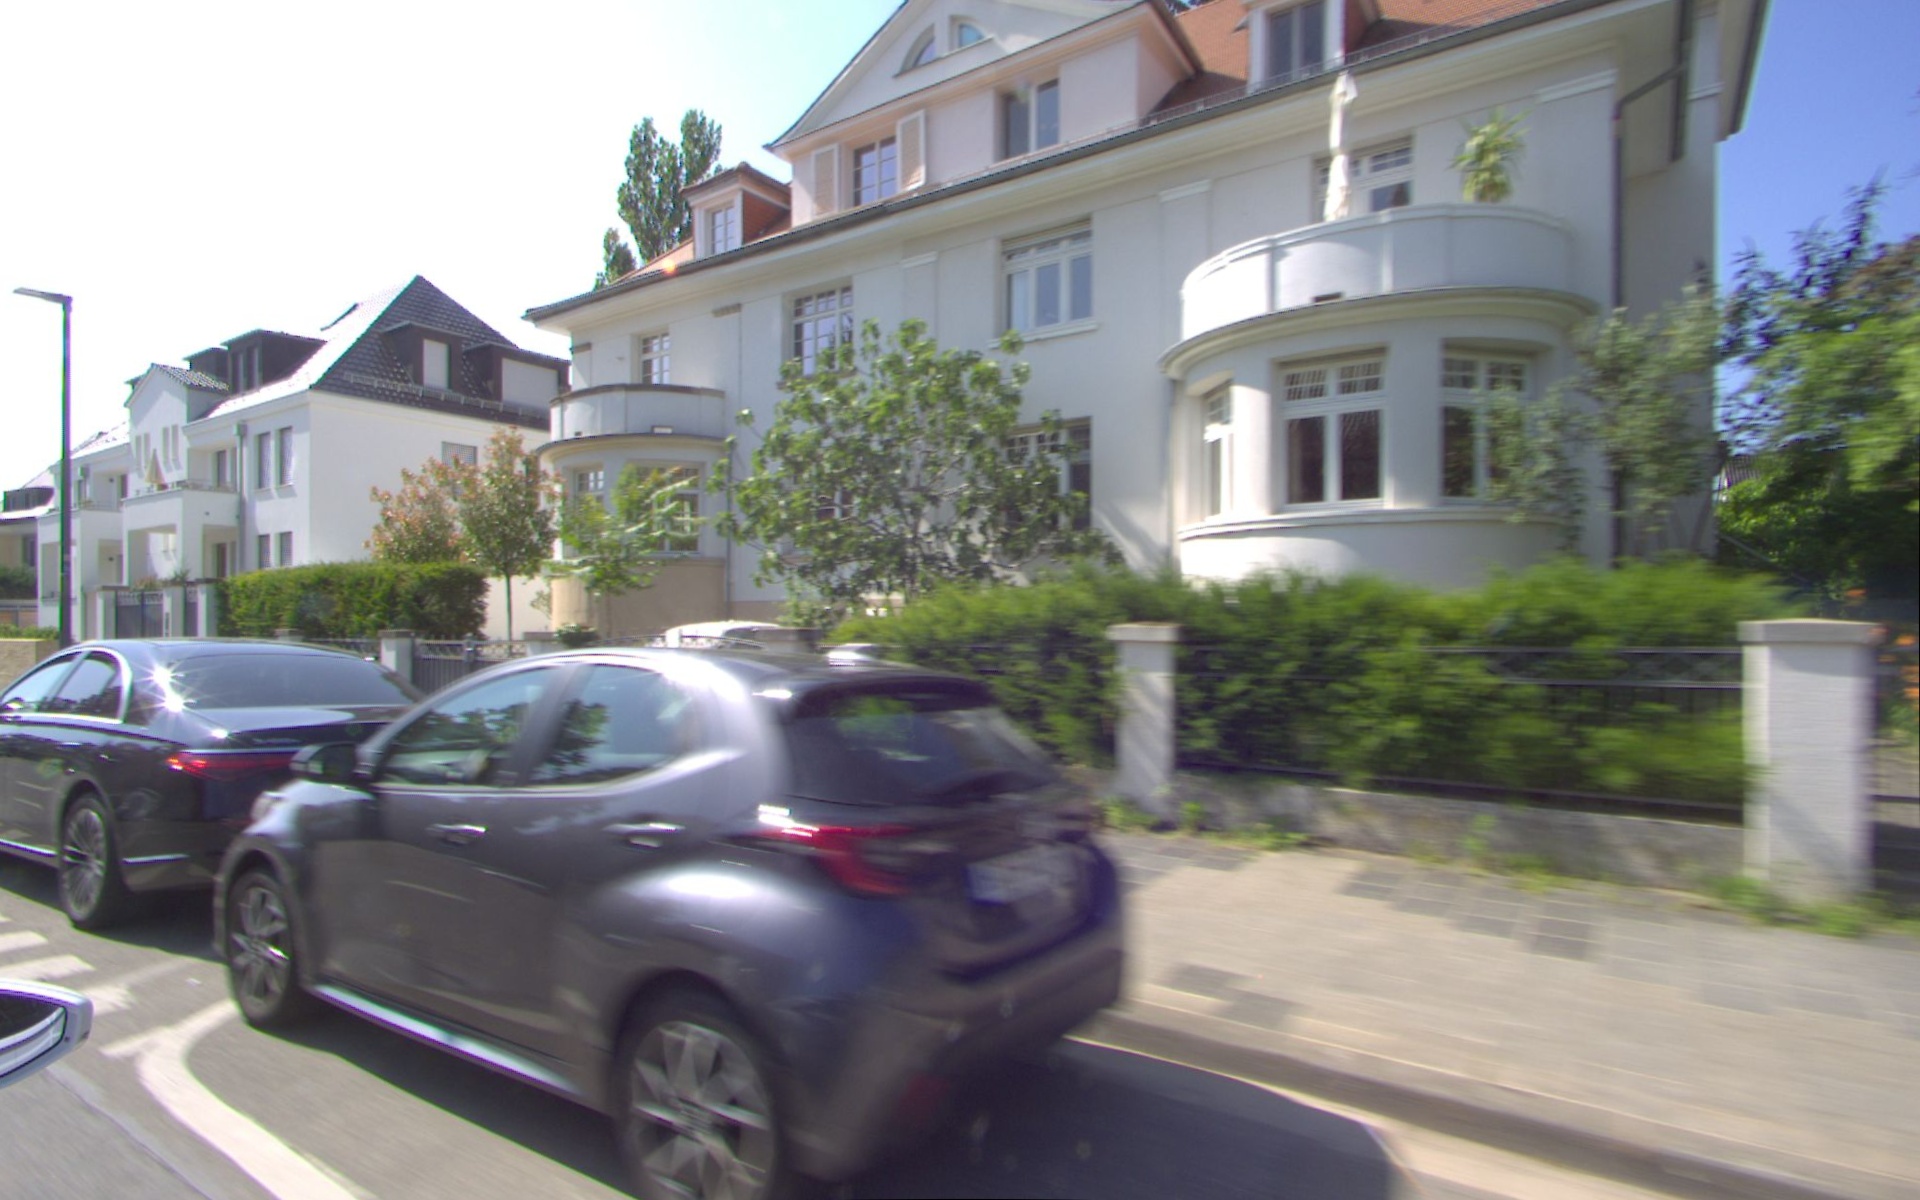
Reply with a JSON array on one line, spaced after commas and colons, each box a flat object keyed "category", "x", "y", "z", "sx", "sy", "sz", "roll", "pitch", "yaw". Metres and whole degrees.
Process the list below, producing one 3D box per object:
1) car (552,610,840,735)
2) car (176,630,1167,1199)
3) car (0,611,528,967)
[{"category": "car", "x": -3.792, "y": 1.093, "z": 15.111, "sx": 1.677, "sy": 1.602, "sz": 4.159, "roll": -1, "pitch": -4, "yaw": 32}, {"category": "car", "x": -1.281, "y": 0.905, "z": 3.876, "sx": 3.735, "sy": 1.493, "sz": 1.655, "roll": -1, "pitch": -4, "yaw": 34}, {"category": "car", "x": -5.100, "y": 0.946, "z": 6.543, "sx": 4.830, "sy": 1.602, "sz": 1.695, "roll": -1, "pitch": -4, "yaw": 32}]
